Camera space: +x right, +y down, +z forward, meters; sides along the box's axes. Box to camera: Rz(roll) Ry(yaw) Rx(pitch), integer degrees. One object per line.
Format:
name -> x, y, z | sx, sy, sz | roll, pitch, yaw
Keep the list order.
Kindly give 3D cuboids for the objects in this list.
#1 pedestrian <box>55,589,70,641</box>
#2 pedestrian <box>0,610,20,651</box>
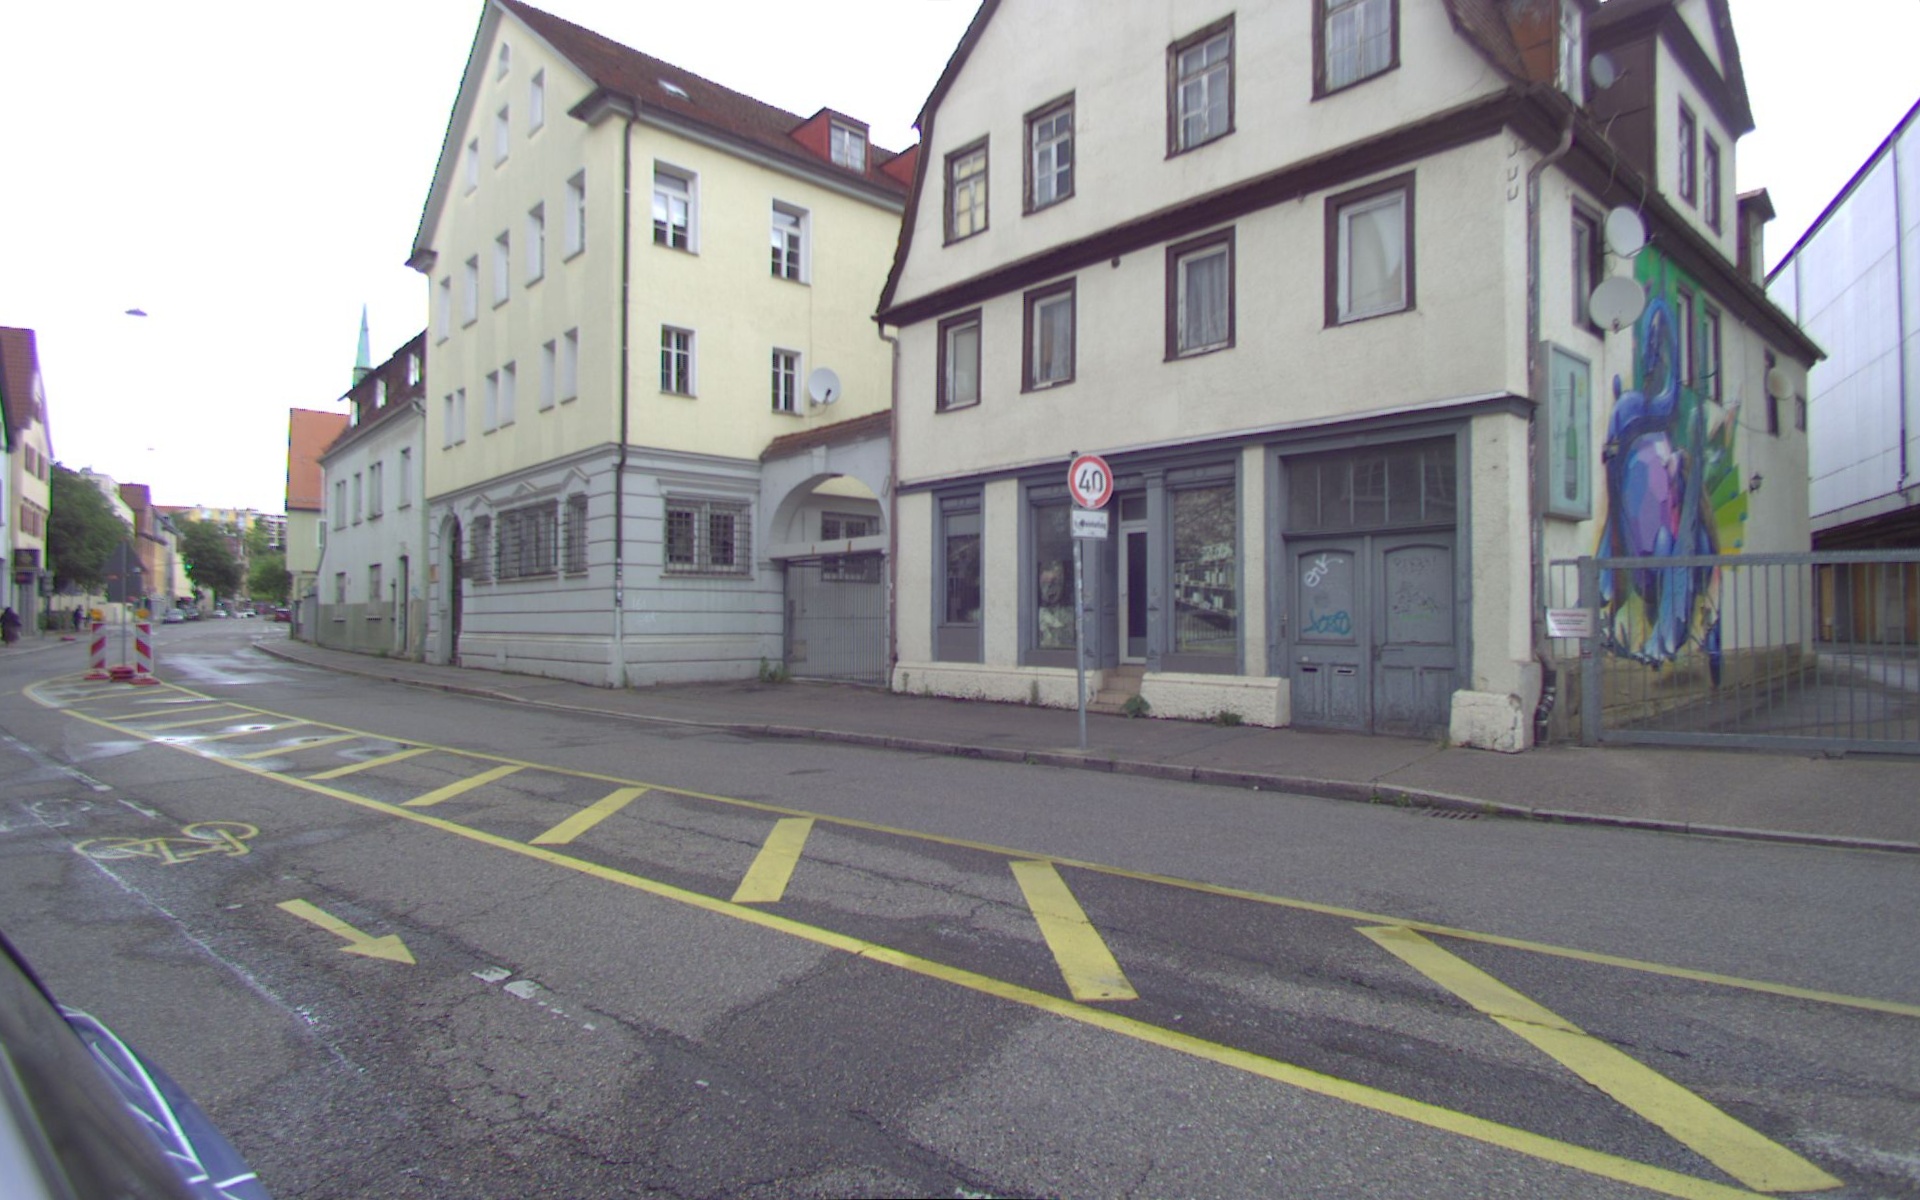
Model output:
pedestrian -> -43.759, 0.737, 49.346 | 0.487, 2.547, 0.747 | 1, -2, -38
pedestrian -> -38.174, 1.224, 40.501 | 0.714, 1.626, 0.650 | 1, -3, -36
